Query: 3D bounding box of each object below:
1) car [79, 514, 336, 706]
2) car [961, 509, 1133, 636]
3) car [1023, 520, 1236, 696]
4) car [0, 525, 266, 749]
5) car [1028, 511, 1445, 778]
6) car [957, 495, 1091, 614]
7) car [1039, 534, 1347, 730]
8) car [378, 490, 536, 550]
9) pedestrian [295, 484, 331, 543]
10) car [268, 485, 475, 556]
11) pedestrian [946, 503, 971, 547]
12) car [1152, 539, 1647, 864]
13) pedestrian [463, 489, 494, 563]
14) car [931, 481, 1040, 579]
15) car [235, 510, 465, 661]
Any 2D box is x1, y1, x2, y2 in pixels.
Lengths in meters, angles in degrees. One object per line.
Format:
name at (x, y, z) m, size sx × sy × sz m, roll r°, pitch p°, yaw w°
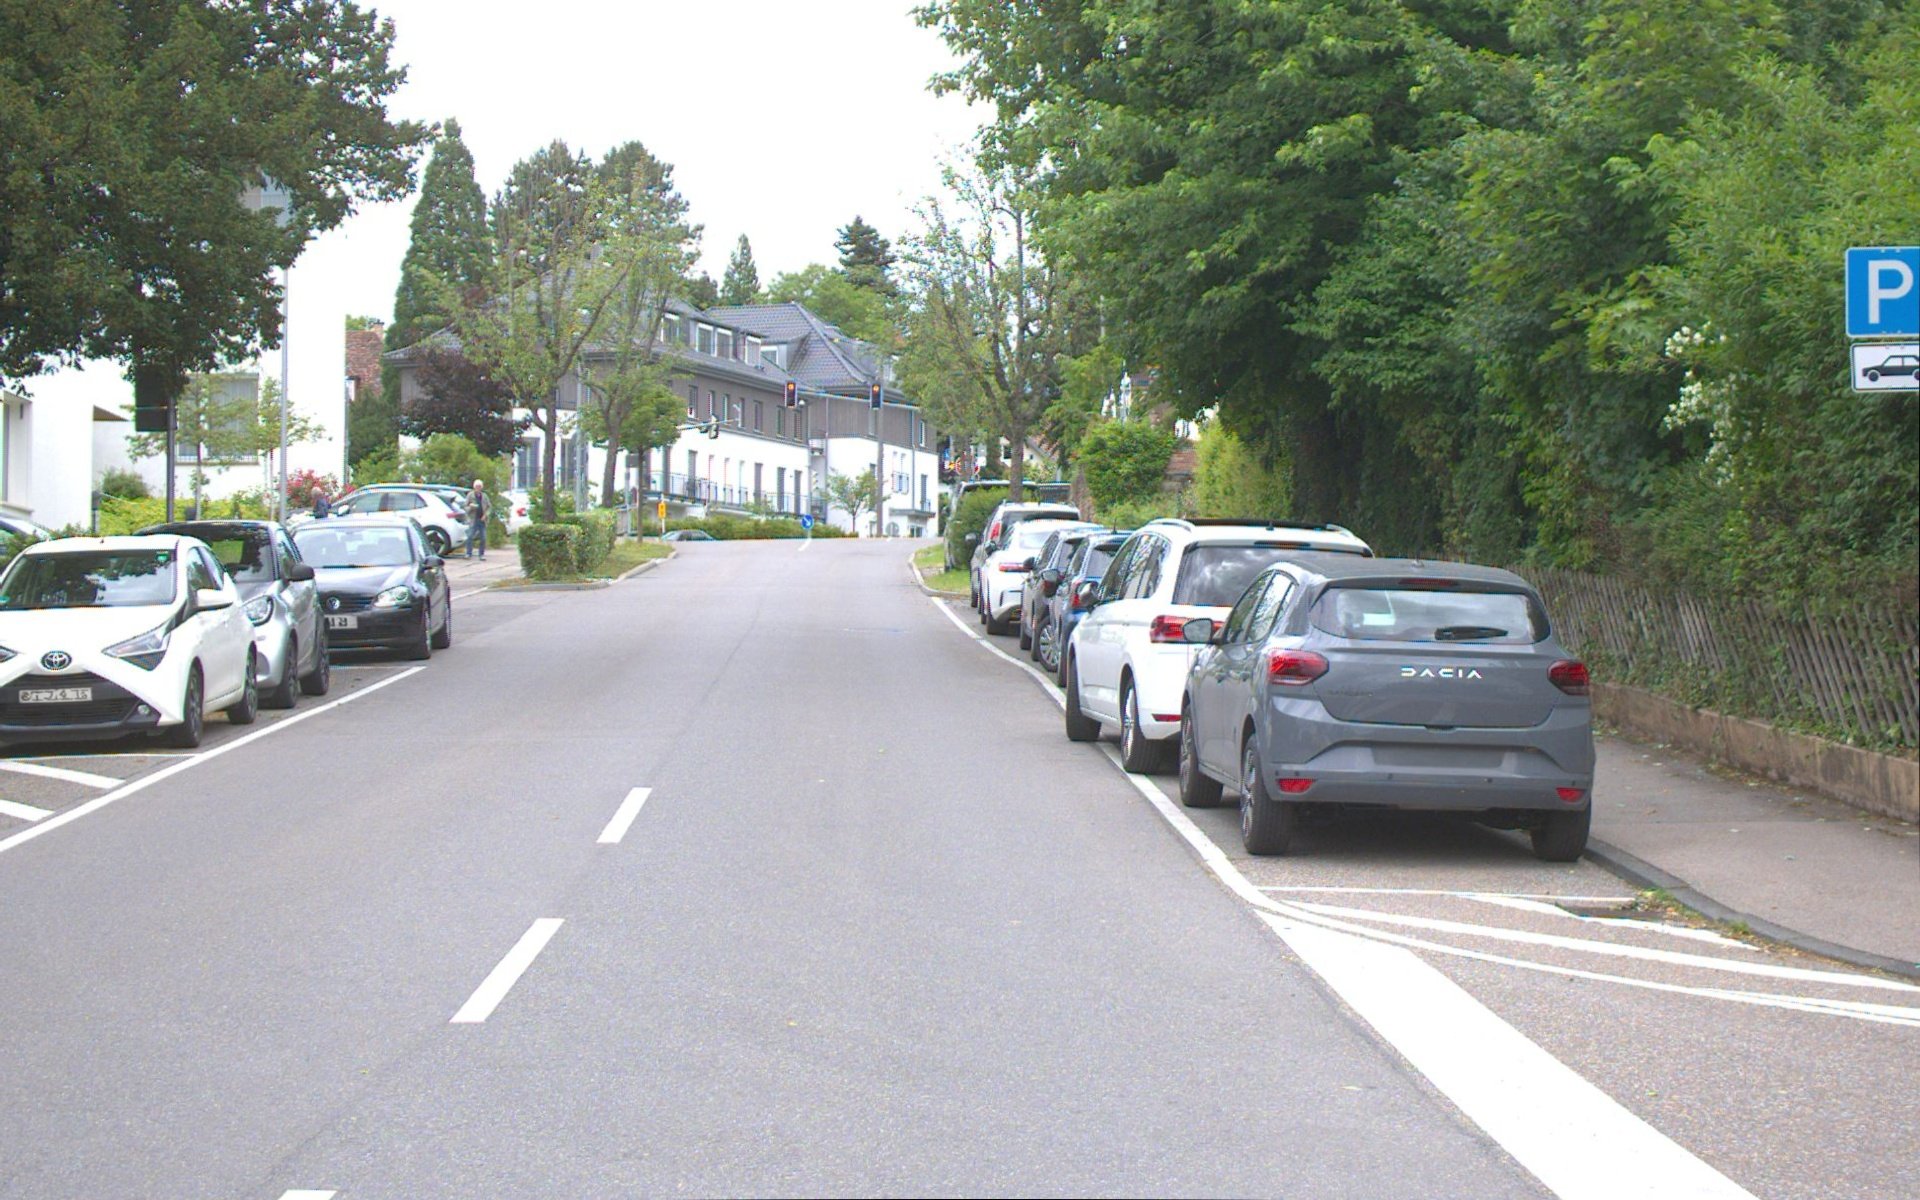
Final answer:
car at (-6.223, 0.049, 28.679) m, size 1.624 × 1.513 × 2.976 m, roll 0°, pitch 1°, yaw -3°
car at (1.060, -0.405, 44.286) m, size 1.993 × 1.486 × 5.005 m, roll 0°, pitch 2°, yaw -1°
car at (1.588, 0.029, 33.522) m, size 1.697 × 1.503 × 4.161 m, roll 2°, pitch 2°, yaw -2°
car at (-6.099, 0.209, 24.478) m, size 1.744 × 1.443 × 3.514 m, roll 0°, pitch 2°, yaw -3°
car at (1.785, 0.215, 23.877) m, size 2.000 × 1.603 × 4.760 m, roll -1°, pitch 2°, yaw -6°
car at (0.901, -0.702, 50.581) m, size 1.716 × 1.627 × 3.929 m, roll 2°, pitch 2°, yaw -2°
car at (1.846, 0.204, 28.555) m, size 1.809 × 1.447 × 4.380 m, roll 0°, pitch 2°, yaw -6°
car at (-14.106, -2.242, 96.612) m, size 4.259 × 1.617 × 2.014 m, roll -1°, pitch 1°, yaw -4°
pedestrian at (-14.219, -1.909, 75.574) m, size 0.607 × 1.278 × 0.900 m, roll 2°, pitch 1°, yaw -2°
car at (-13.280, -1.803, 77.789) m, size 4.386 × 1.561 × 2.067 m, roll 0°, pitch 2°, yaw -3°
pedestrian at (-0.045, -2.826, 129.373) m, size 0.685 × 1.676 × 0.699 m, roll 1°, pitch 2°, yaw 31°
car at (2.267, 0.453, 18.949) m, size 1.937 × 1.486 × 4.457 m, roll -1°, pitch 2°, yaw -3°
pedestrian at (-10.720, -1.657, 76.557) m, size 0.593 × 1.635 × 0.565 m, roll 0°, pitch 2°, yaw -1°
car at (0.454, -1.387, 66.875) m, size 1.936 × 1.831 × 5.220 m, roll 0°, pitch 2°, yaw -2°
car at (-6.395, -0.206, 36.509) m, size 1.850 × 1.464 × 4.684 m, roll 0°, pitch 2°, yaw -3°
